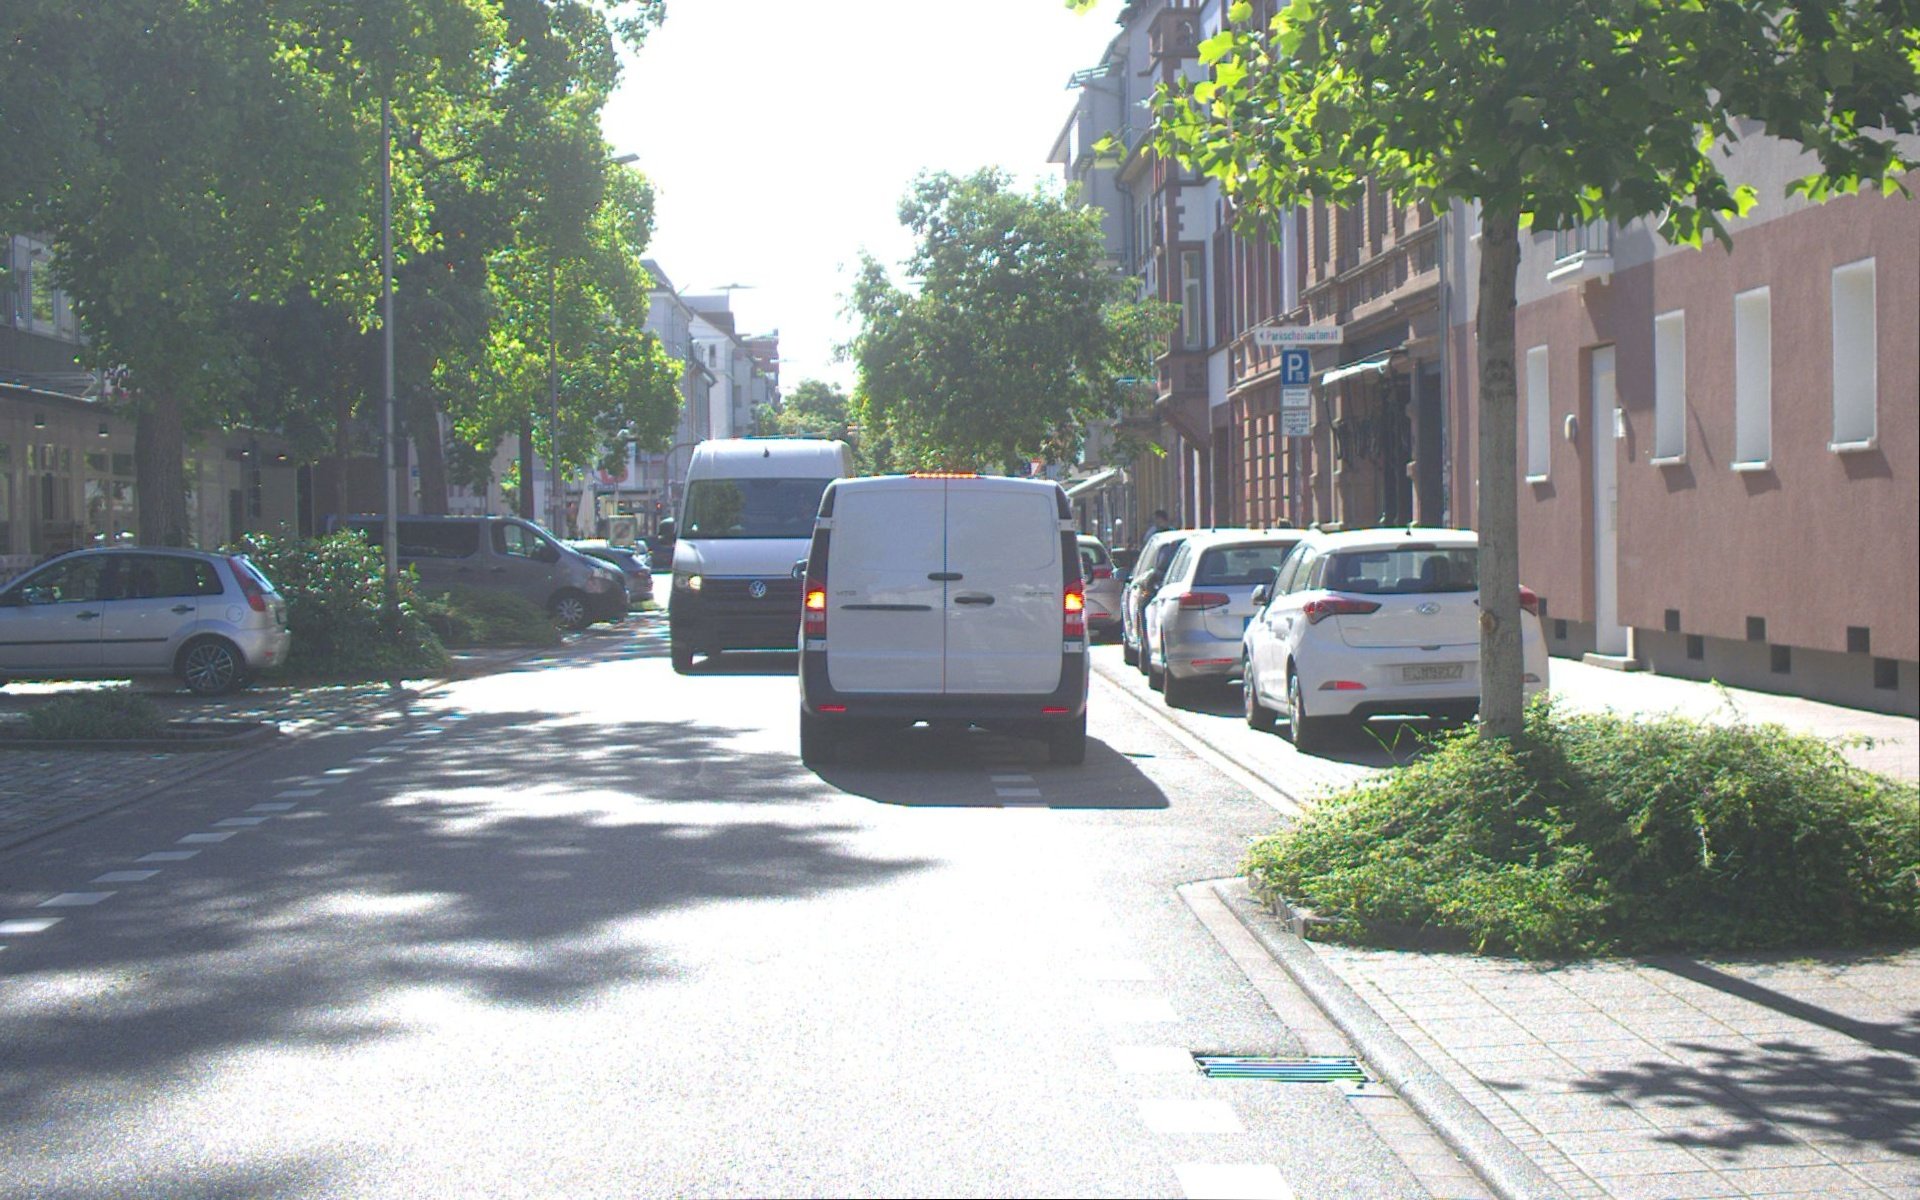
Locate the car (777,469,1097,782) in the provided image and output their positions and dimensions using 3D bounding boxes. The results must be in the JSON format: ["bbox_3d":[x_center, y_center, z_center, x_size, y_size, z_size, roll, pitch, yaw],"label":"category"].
[{"bbox_3d":[-0.269,0.098,23.431,1.920,1.907,4.889,0,1,-3],"label":"car"}]

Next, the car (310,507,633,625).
[{"bbox_3d":[-8.335,-0.596,58.975,5.292,1.967,2.016,0,1,-2],"label":"car"}]

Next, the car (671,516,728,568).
[{"bbox_3d":[-10.388,-2.336,137.370,1.993,2.007,4.000,-1,1,-1],"label":"car"}]

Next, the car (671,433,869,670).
[{"bbox_3d":[-2.090,-0.597,39.630,1.993,2.465,6.604,-1,1,-1],"label":"car"}]

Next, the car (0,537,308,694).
[{"bbox_3d":[-8.610,0.143,34.039,3.986,1.452,1.861,-1,1,-2],"label":"car"}]

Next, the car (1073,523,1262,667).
[{"bbox_3d":[2.216,-0.089,37.582,1.709,1.475,3.711,-1,1,-2],"label":"car"}]

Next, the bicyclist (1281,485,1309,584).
[{"bbox_3d":[5.024,-0.979,51.603,0.361,1.472,0.531,0,1,0],"label":"bicyclist"}]

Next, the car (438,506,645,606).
[{"bbox_3d":[-8.719,-0.938,71.846,3.987,2.007,2.000,1,1,3],"label":"car"}]

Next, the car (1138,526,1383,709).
[{"bbox_3d":[2.609,0.099,30.751,1.786,1.455,4.517,-2,1,1],"label":"car"}]

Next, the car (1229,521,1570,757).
[{"bbox_3d":[3.057,0.217,24.636,1.731,1.481,3.795,-3,1,-3],"label":"car"}]

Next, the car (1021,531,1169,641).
[{"bbox_3d":[1.853,-0.230,48.200,1.738,1.446,4.001,-1,1,-2],"label":"car"}]
